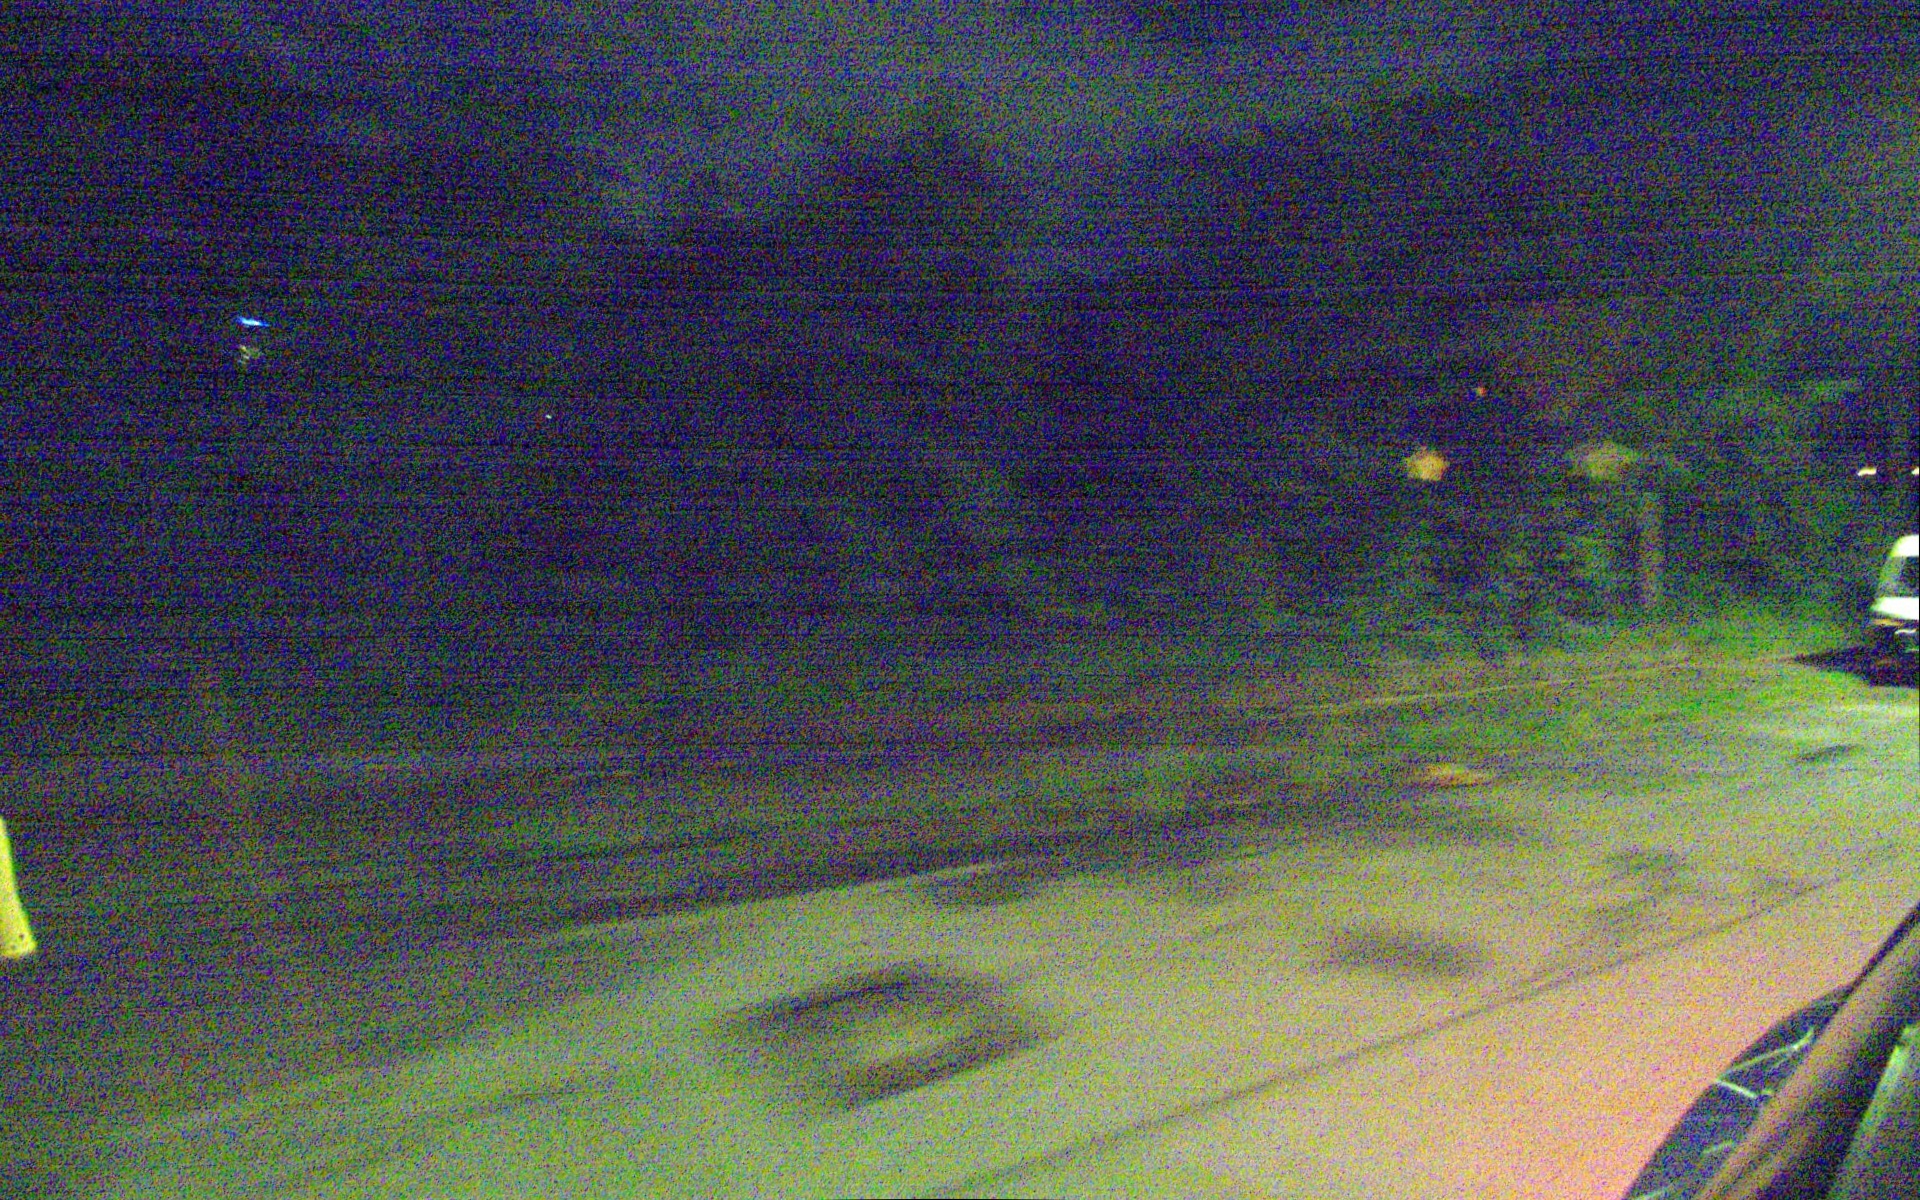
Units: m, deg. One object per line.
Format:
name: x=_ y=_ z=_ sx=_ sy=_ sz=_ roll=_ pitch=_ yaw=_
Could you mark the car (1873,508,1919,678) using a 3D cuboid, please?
car: x=17.185 y=-0.114 z=16.766 sx=6.256 sy=2.548 sz=2.113 roll=0 pitch=0 yaw=-39
